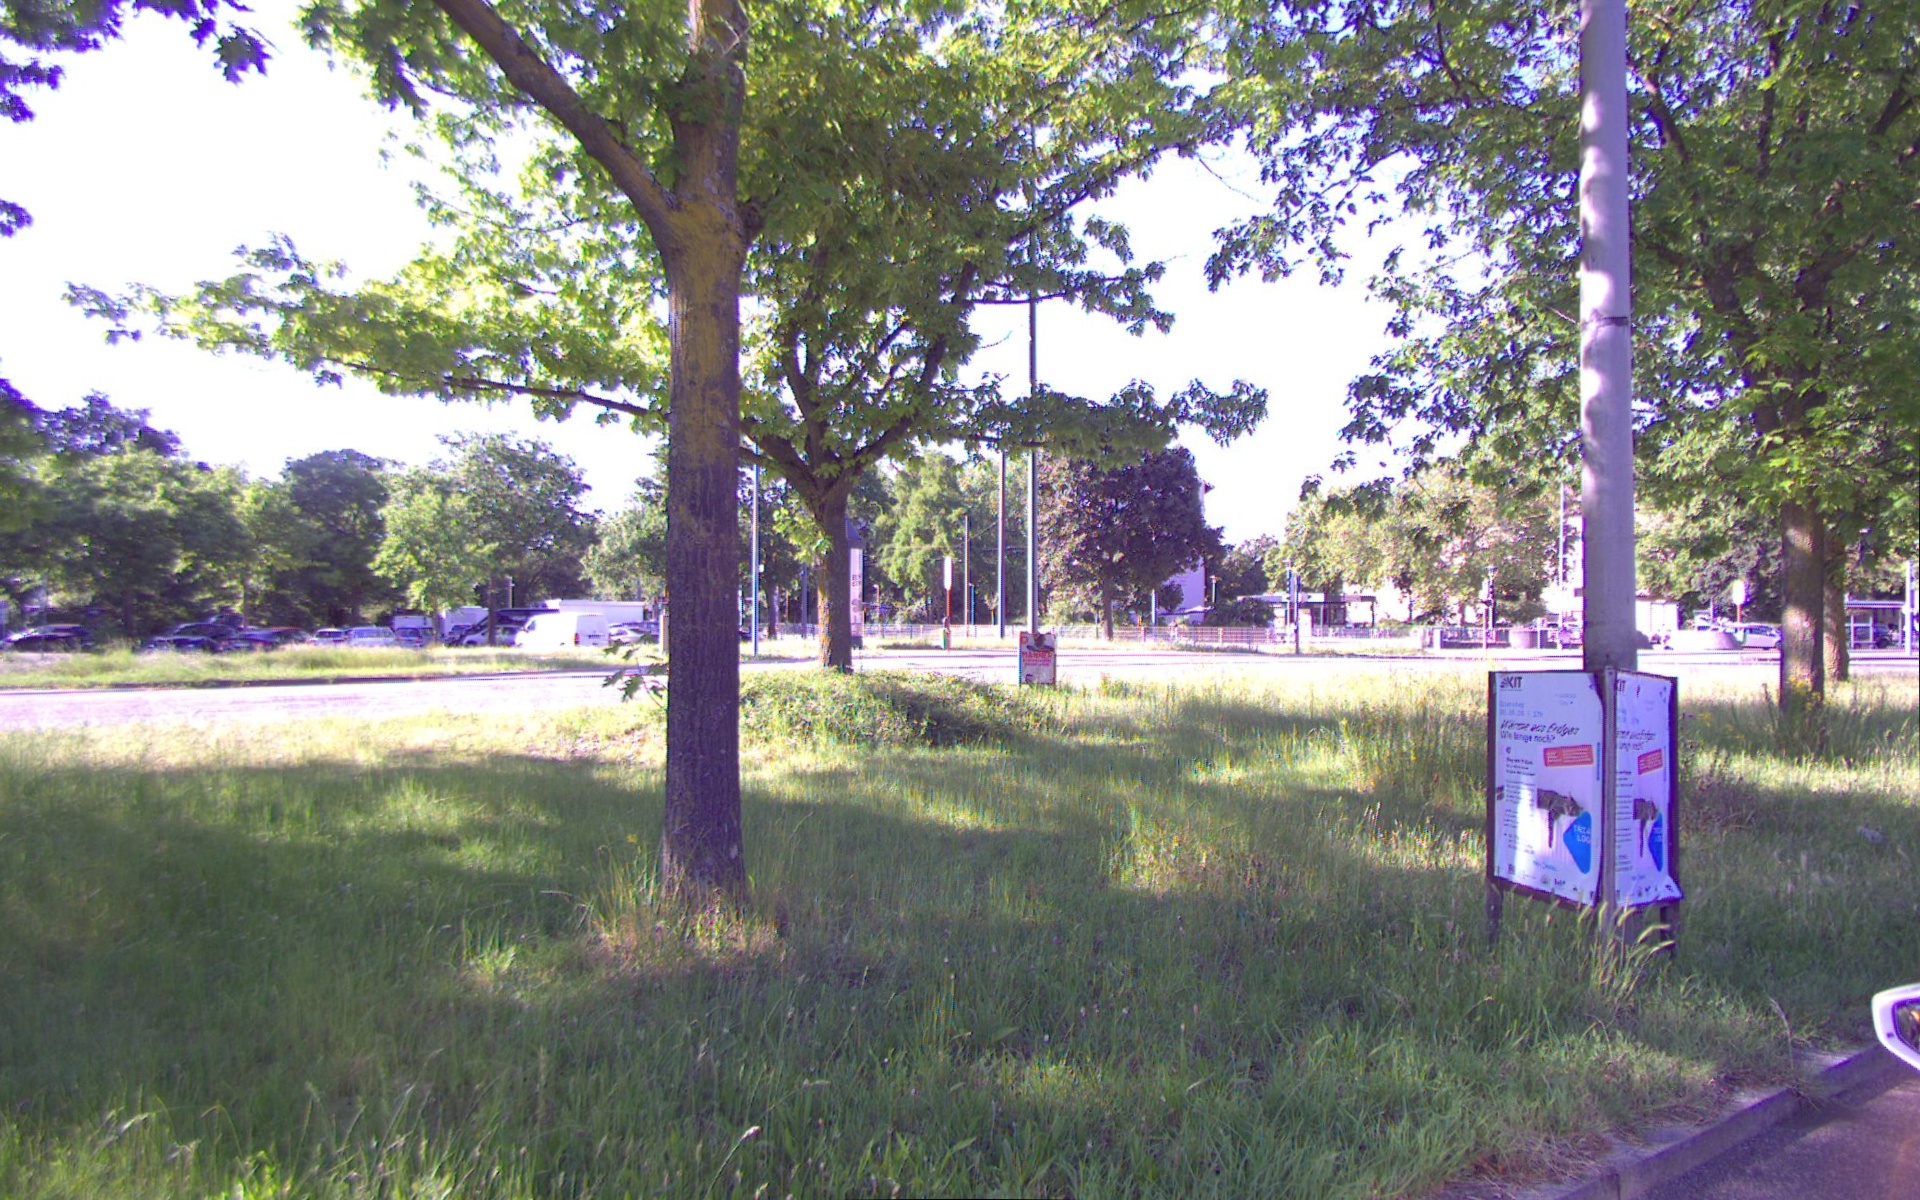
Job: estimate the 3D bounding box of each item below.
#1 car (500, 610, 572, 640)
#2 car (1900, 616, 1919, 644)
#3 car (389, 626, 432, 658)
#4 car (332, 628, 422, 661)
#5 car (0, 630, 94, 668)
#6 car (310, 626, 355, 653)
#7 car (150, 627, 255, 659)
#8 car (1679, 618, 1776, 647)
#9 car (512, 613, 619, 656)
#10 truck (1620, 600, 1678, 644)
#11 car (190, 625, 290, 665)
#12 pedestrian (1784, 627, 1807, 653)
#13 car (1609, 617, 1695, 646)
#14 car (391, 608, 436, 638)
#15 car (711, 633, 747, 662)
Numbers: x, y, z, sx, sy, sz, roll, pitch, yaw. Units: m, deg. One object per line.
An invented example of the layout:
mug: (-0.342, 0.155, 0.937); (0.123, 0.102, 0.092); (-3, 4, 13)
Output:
car: (-24.129, 1.408, 57.289); (3.698, 1.691, 1.883); (1, -1, -23)
car: (71.676, 2.214, 73.299); (1.910, 2.040, 4.155); (1, -1, -31)
car: (-26.700, 2.023, 48.778); (1.602, 1.438, 3.050); (1, -1, -33)
car: (-21.825, 1.629, 37.634); (2.769, 1.171, 1.326); (1, -1, -40)
car: (-47.658, 2.490, 51.902); (1.966, 1.817, 3.990); (0, -1, 32)
car: (-29.293, 1.819, 46.864); (1.603, 1.194, 3.047); (1, -1, -35)
car: (-26.841, 1.499, 35.628); (1.315, 1.078, 2.777); (0, -1, 42)
car: (46.907, 1.962, 61.467); (4.233, 1.706, 2.001); (0, -1, 9)
car: (-17.217, 1.470, 43.800); (4.670, 1.762, 2.024); (0, -1, 34)
truck: (46.641, 1.475, 68.092); (1.960, 2.842, 4.002); (0, -1, 15)
car: (-25.232, 1.558, 35.243); (2.769, 1.323, 1.326); (1, -1, -40)
pedestrian: (53.630, 2.572, 64.475); (0.781, 1.629, 0.923); (0, -1, 9)
car: (42.904, 1.948, 62.336); (3.919, 1.706, 2.001); (0, -1, 9)
car: (-32.488, 1.360, 59.785); (1.865, 1.691, 3.733); (1, -1, -22)
car: (-12.030, 2.449, 52.487); (1.589, 1.438, 3.073); (0, -1, -8)
